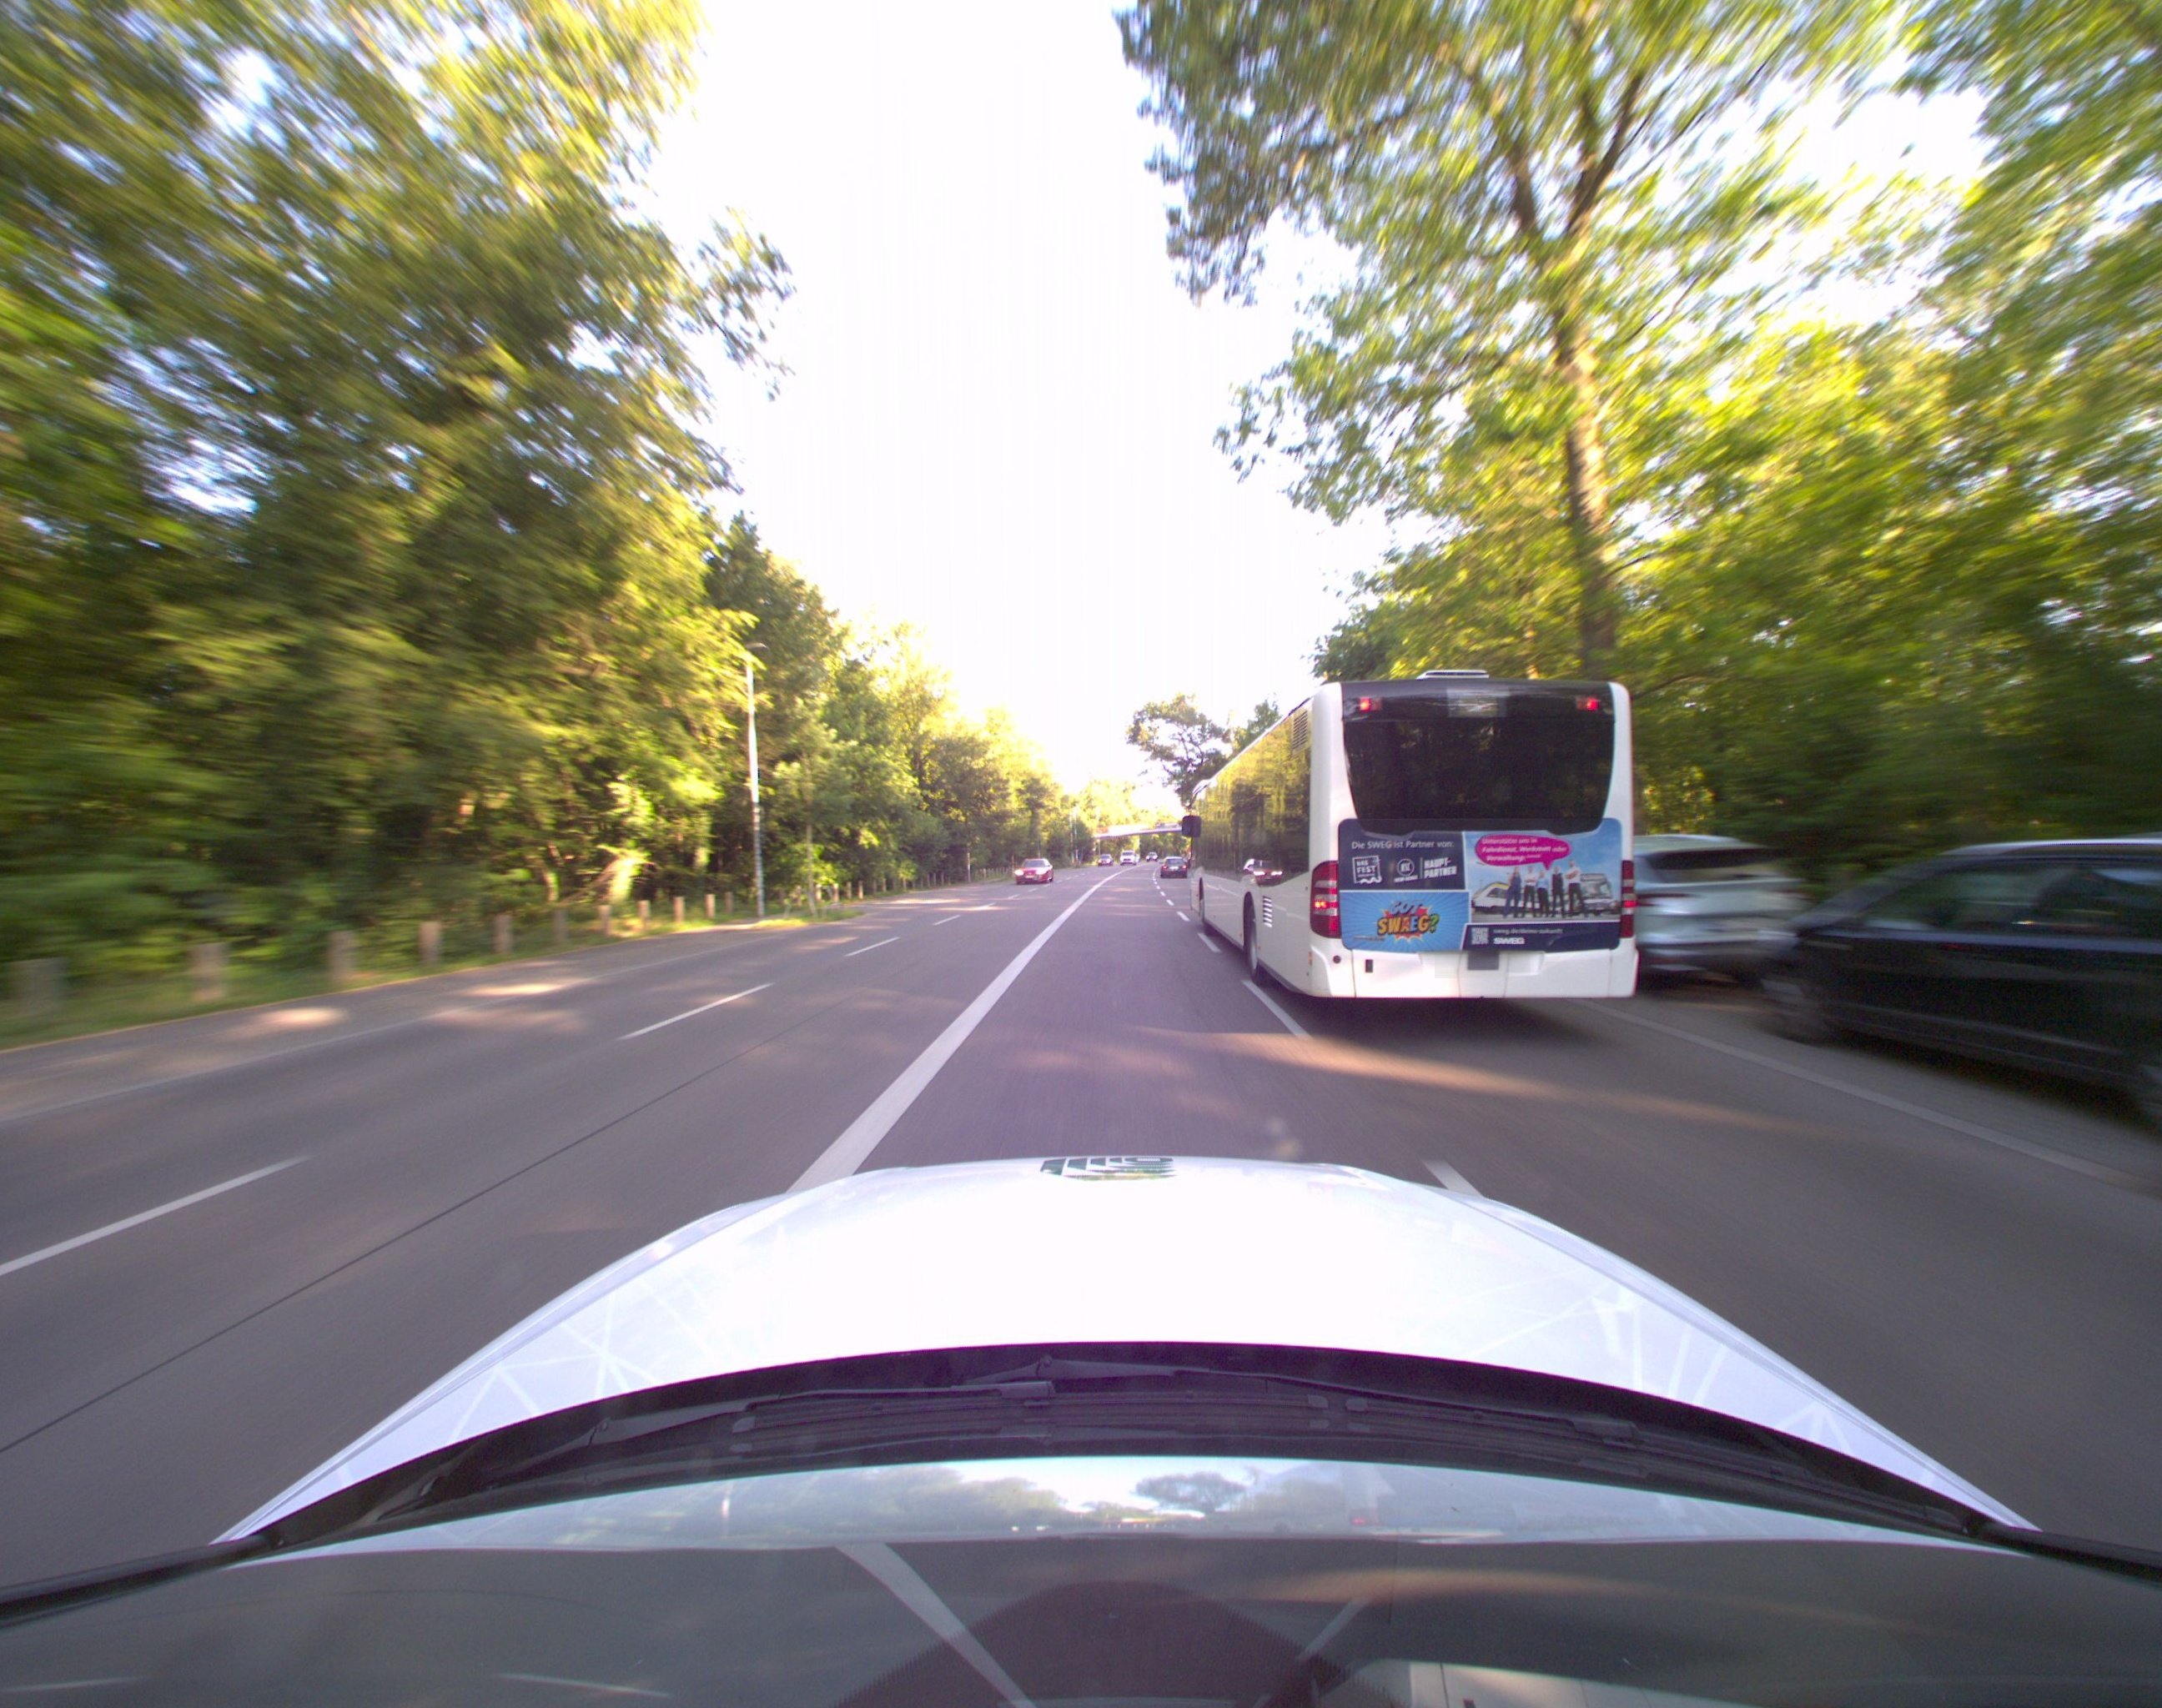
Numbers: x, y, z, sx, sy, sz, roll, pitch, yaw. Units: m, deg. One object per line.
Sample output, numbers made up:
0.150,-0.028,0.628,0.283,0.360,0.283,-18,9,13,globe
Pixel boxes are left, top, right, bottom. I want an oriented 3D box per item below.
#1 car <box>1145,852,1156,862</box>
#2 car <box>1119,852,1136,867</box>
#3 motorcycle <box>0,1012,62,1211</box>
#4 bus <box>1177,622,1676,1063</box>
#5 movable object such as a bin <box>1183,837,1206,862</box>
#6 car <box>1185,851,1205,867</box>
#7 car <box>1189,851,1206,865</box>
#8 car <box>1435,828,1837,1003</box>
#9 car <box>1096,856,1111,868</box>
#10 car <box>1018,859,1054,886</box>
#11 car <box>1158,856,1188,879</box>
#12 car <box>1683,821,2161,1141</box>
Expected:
13.093,0.572,153.489,1.908,1.704,4.451,-2,0,7,car
6.371,0.776,111.795,2.197,1.961,4.918,-2,0,4,car
-5.549,1.266,3.050,0.666,0.904,2.167,-2,0,2,motorcycle
3.295,-0.057,12.233,2.693,3.222,12.286,-2,0,2,bus
16.347,-0.642,117.773,2.746,3.370,7.609,-2,0,4,movable object such as a bin
11.629,0.458,83.189,1.719,1.524,4.096,-2,0,5,car
13.408,0.462,93.813,1.719,1.542,4.096,-2,0,5,car
6.242,0.582,10.028,1.845,1.585,4.725,-2,0,2,car
3.021,1.065,110.911,1.792,1.599,4.005,-2,0,4,car
-2.675,1.045,48.930,1.817,1.462,4.924,-2,0,0,car
6.128,0.875,54.495,1.721,1.441,4.092,-2,0,2,car
6.138,0.610,5.271,1.589,1.522,3.911,-4,0,2,car
